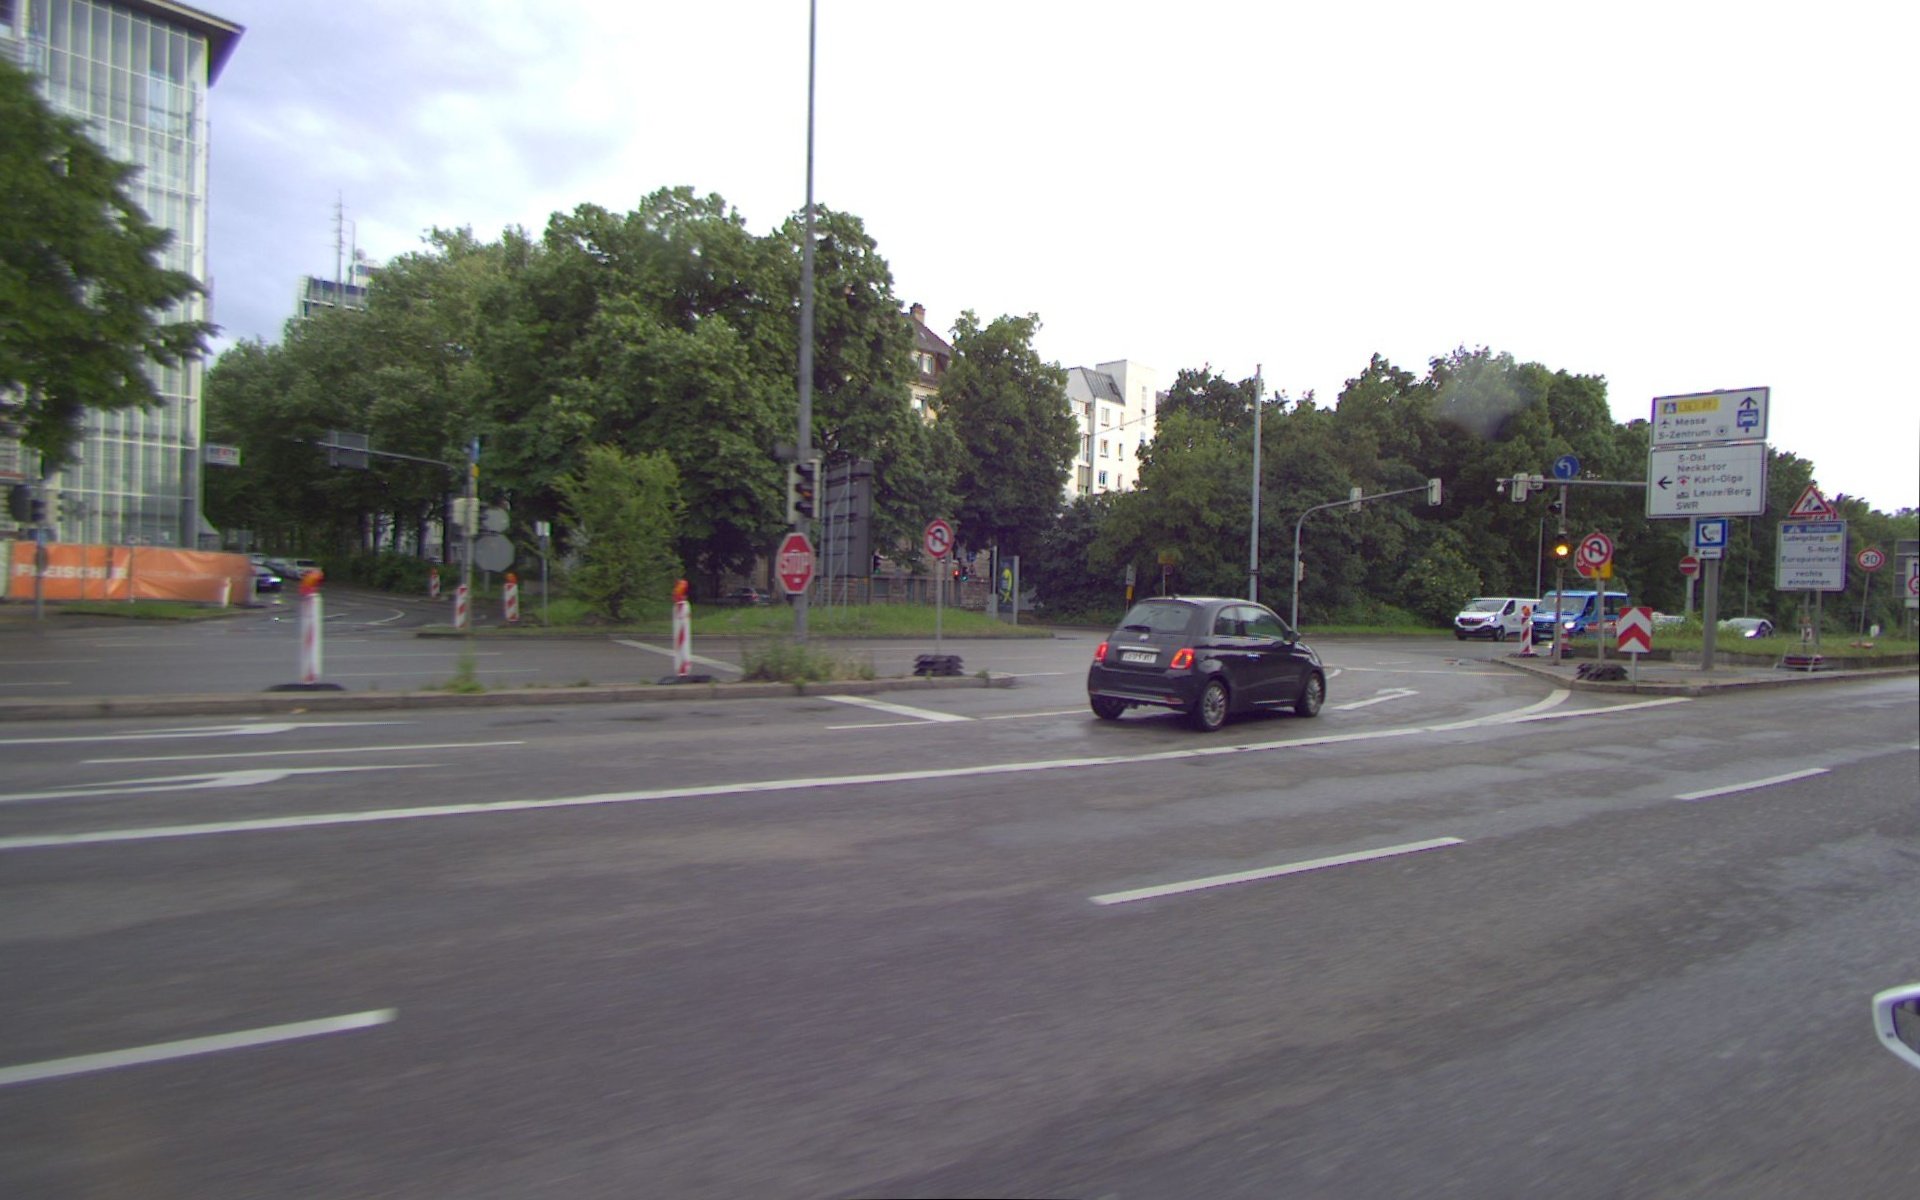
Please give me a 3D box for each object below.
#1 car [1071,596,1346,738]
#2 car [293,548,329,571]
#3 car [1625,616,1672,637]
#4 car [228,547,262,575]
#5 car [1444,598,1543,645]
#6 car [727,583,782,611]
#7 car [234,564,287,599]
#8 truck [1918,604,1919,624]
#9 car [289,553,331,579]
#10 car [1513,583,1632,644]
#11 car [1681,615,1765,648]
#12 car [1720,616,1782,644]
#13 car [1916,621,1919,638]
[{"bbox_3d":[3.124,0.705,12.310,3.477,1.460,1.572,0,1,-42],"label":"car"},{"bbox_3d":[-51.919,-3.229,80.317,1.797,1.648,3.949,1,2,-43],"label":"car"},{"bbox_3d":[38.383,1.459,55.996,2.766,1.100,1.261,1,1,-36],"label":"car"},{"bbox_3d":[-68.615,-3.724,96.341,2.091,2.515,4.680,1,2,-43],"label":"car"},{"bbox_3d":[24.221,0.938,45.568,4.943,2.001,2.020,1,1,-37],"label":"car"},{"bbox_3d":[-13.370,-0.214,65.311,3.456,1.680,1.866,2,0,44],"label":"car"},{"bbox_3d":[-37.745,-1.014,54.168,1.797,1.648,3.949,1,2,-43],"label":"car"},{"bbox_3d":[154.217,2.310,158.991,10.067,3.190,2.771,2,-1,-41],"label":"truck"},{"bbox_3d":[-45.268,-2.350,69.954,1.797,1.648,3.949,1,2,-43],"label":"car"},{"bbox_3d":[26.265,0.545,42.987,6.184,2.423,2.179,1,1,-37],"label":"car"},{"bbox_3d":[30.481,1.277,40.082,4.606,1.216,1.537,2,0,-38],"label":"car"},{"bbox_3d":[36.447,1.379,46.271,3.268,1.216,1.420,2,0,-36],"label":"car"},{"bbox_3d":[108.707,3.333,112.460,4.794,1.805,1.898,1,0,-40],"label":"car"}]
